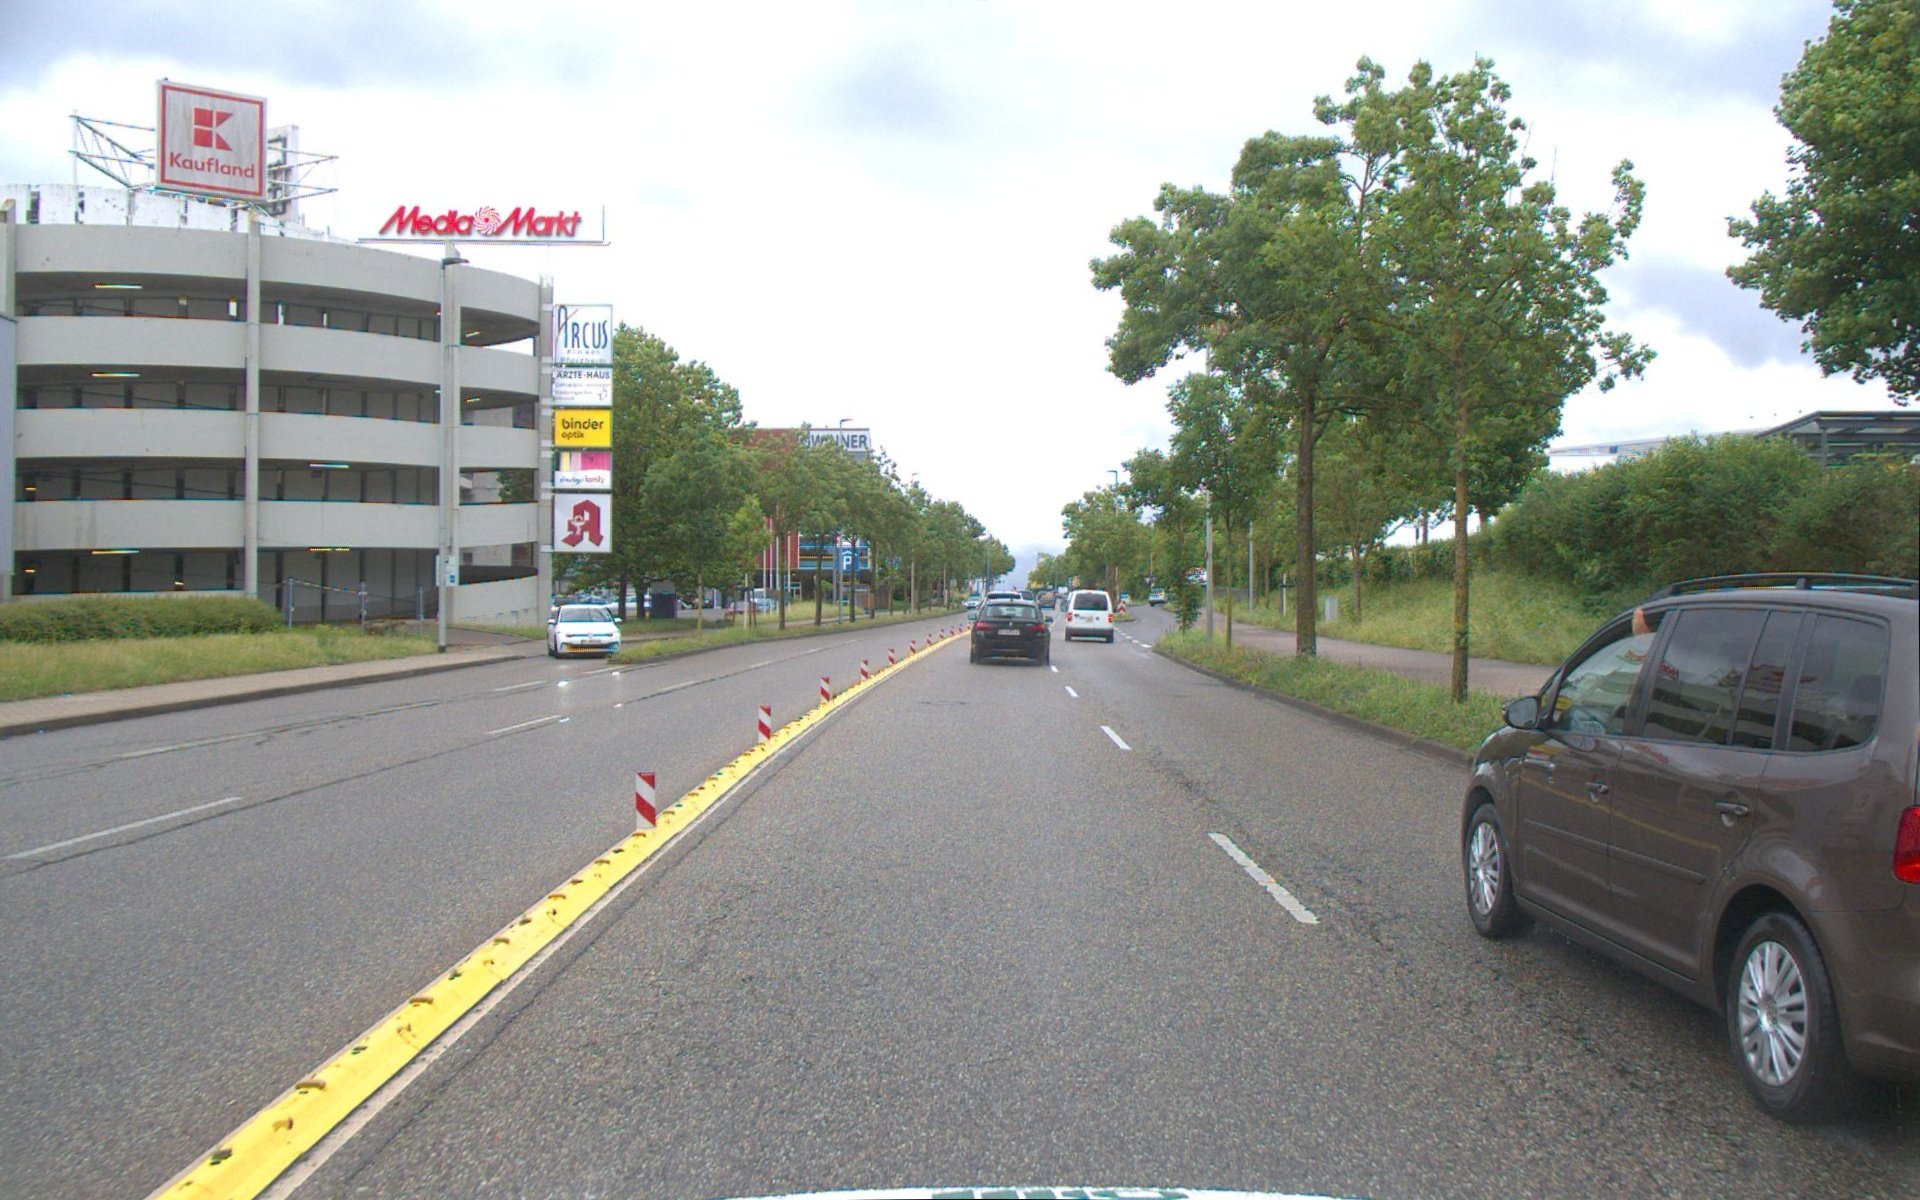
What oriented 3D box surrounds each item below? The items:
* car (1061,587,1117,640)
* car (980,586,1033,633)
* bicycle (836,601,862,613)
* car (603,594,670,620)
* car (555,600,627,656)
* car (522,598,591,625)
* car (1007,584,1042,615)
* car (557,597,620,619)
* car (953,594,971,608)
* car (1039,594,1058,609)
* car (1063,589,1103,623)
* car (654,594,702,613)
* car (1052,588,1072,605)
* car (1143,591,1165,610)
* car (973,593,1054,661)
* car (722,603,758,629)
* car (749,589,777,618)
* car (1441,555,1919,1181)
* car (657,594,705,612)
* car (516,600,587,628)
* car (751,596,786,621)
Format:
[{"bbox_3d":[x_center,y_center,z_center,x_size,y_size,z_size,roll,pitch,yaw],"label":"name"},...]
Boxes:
[{"bbox_3d":[4.625,0.472,59.720,1.789,1.789,4.001,2,0,2],"label":"car"},{"bbox_3d":[1.639,0.335,57.926,1.757,1.537,4.001,2,-1,2],"label":"car"},{"bbox_3d":[-9.850,0.635,146.821,2.033,0.951,1.094,5,0,8],"label":"bicycle"},{"bbox_3d":[-23.232,0.502,118.810,4.508,1.776,1.965,1,1,-5],"label":"car"},{"bbox_3d":[-10.390,0.754,46.626,1.866,1.433,4.410,-2,1,-13],"label":"car"},{"bbox_3d":[-28.354,0.814,116.396,4.512,1.776,2.130,1,1,-8],"label":"car"},{"bbox_3d":[3.397,-0.023,87.974,1.757,1.537,4.001,2,-1,2],"label":"car"},{"bbox_3d":[-28.637,0.630,127.573,4.519,1.536,2.023,1,1,-5],"label":"car"},{"bbox_3d":[0.246,0.113,188.972,1.828,1.580,4.577,-2,0,3],"label":"car"},{"bbox_3d":[9.371,0.177,174.668,1.757,1.537,4.000,2,-1,0],"label":"car"},{"bbox_3d":[5.982,0.313,80.780,1.757,1.537,4.001,2,-1,3],"label":"car"},{"bbox_3d":[-24.930,0.286,146.305,4.028,1.536,1.818,1,1,-5],"label":"car"},{"bbox_3d":[9.873,-0.295,160.278,1.757,1.537,4.001,2,-1,2],"label":"car"},{"bbox_3d":[17.066,0.057,145.131,1.756,1.537,4.003,2,-1,8],"label":"car"},{"bbox_3d":[1.246,0.590,38.769,1.789,1.494,4.001,0,0,2],"label":"car"},{"bbox_3d":[-15.083,1.087,113.551,1.894,1.637,4.710,1,1,-1],"label":"car"},{"bbox_3d":[-15.921,0.287,133.919,2.073,2.132,5.117,1,1,-5],"label":"car"},{"bbox_3d":[3.292,0.710,6.230,1.651,1.608,4.218,2,0,-1],"label":"car"},{"bbox_3d":[-25.034,0.276,148.542,4.028,1.536,1.818,1,1,-5],"label":"car"},{"bbox_3d":[-27.980,0.944,113.517,4.512,1.776,1.964,1,1,-8],"label":"car"},{"bbox_3d":[-14.820,0.642,128.173,1.997,1.792,4.946,1,1,1],"label":"car"}]
